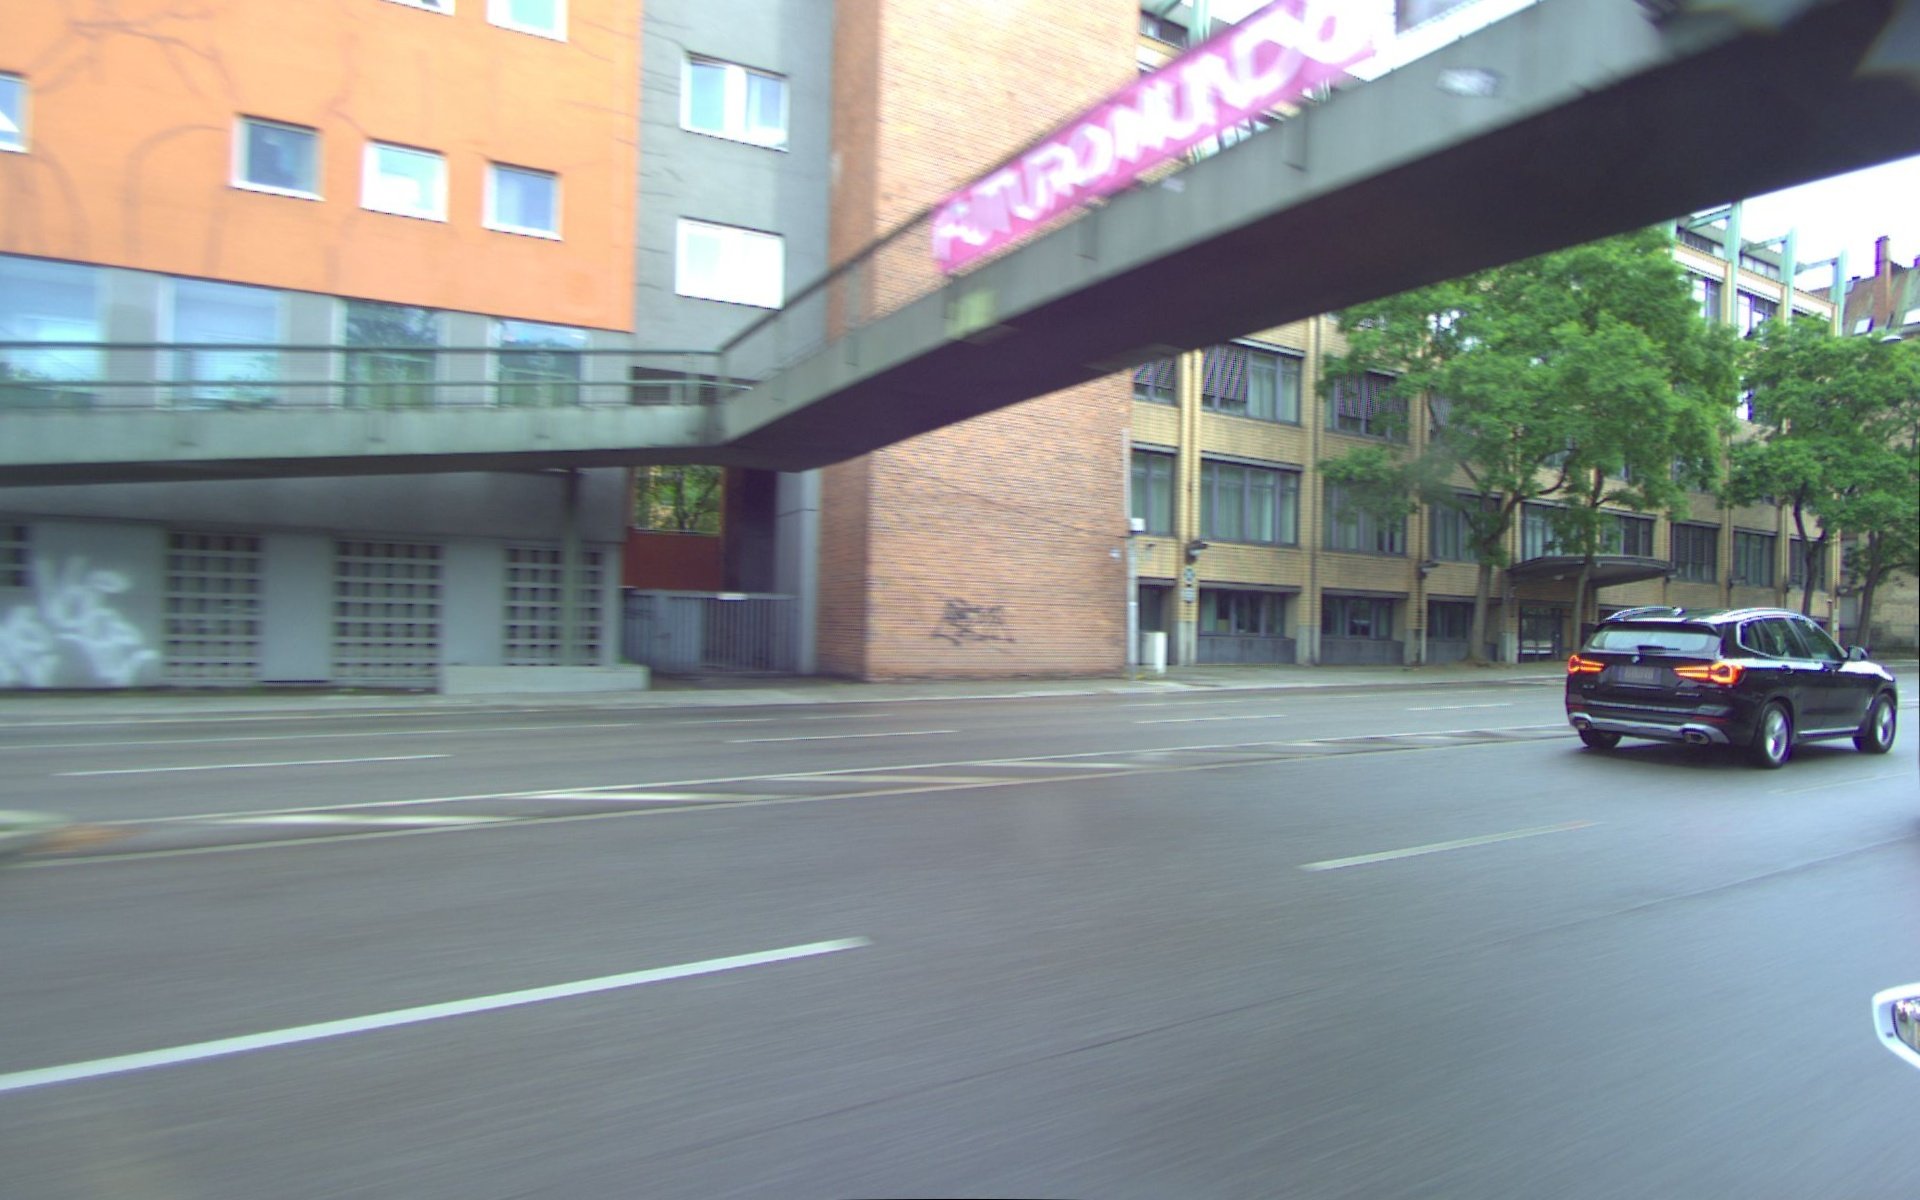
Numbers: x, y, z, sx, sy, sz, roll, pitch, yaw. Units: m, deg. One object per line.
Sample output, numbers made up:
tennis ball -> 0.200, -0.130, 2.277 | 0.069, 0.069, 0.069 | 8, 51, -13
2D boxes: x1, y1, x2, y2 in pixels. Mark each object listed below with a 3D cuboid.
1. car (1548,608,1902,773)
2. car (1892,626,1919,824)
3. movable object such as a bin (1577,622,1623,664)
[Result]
car -> 8.965, 0.942, 11.691 | 4.360, 1.607, 1.749 | 1, -1, -30
car -> 9.283, 0.980, 7.825 | 4.360, 1.452, 1.749 | 1, 0, -30
movable object such as a bin -> 23.473, 1.569, 36.816 | 1.300, 1.455, 0.967 | 1, 1, -34
